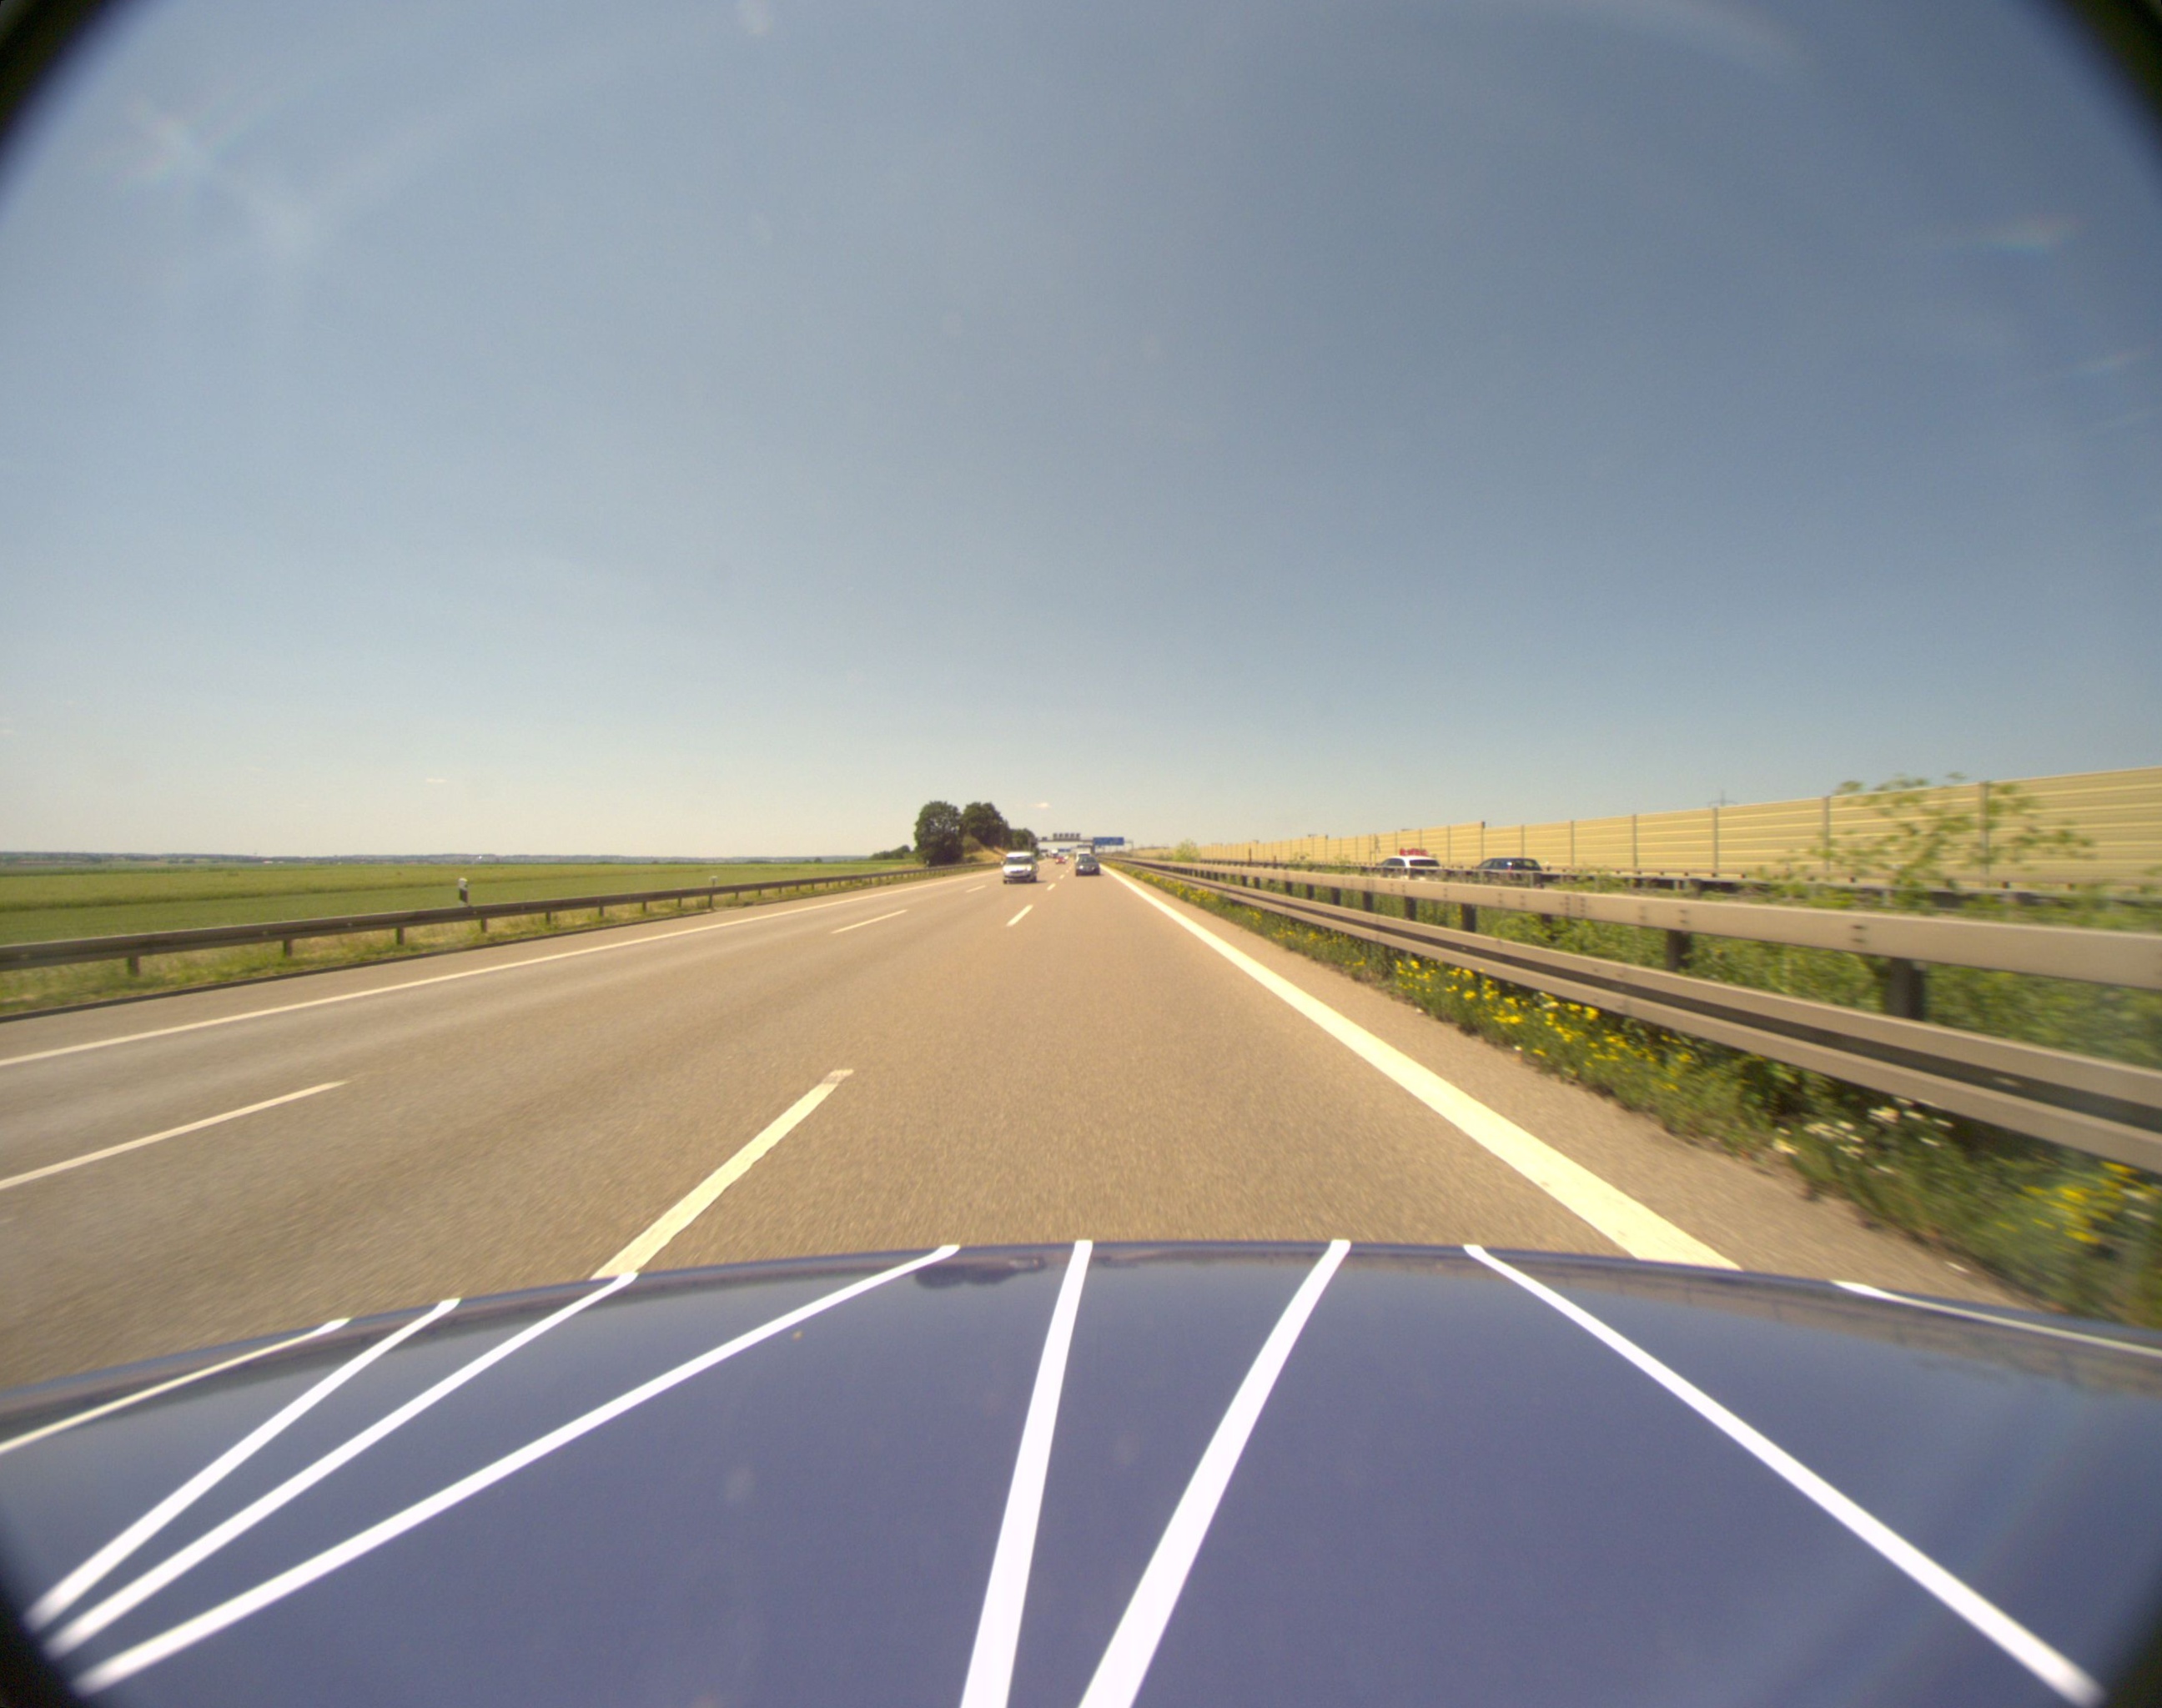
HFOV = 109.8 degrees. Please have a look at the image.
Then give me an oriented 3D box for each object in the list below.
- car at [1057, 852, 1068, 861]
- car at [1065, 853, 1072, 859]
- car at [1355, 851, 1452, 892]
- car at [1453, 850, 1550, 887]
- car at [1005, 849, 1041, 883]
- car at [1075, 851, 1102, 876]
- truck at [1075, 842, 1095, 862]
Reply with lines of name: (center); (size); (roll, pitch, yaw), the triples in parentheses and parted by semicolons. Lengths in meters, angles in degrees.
car: (-3.290, 0.389, 135.538); (1.723, 1.514, 3.581); (-2, 1, -1)
car: (-3.389, 0.416, 198.707); (1.723, 1.514, 3.581); (-2, 1, -1)
car: (13.892, 0.686, 33.137); (1.998, 1.585, 5.306); (0, 1, 1)
car: (18.058, 0.580, 32.915); (1.722, 1.401, 4.484); (-2, 1, 1)
car: (-3.443, 0.672, 45.663); (1.812, 1.836, 5.311); (-2, 0, -1)
car: (0.520, 0.683, 56.529); (1.715, 1.586, 4.546); (-5, 0, -1)
truck: (0.456, -0.271, 95.071); (2.333, 2.378, 6.685); (-2, 1, -1)
